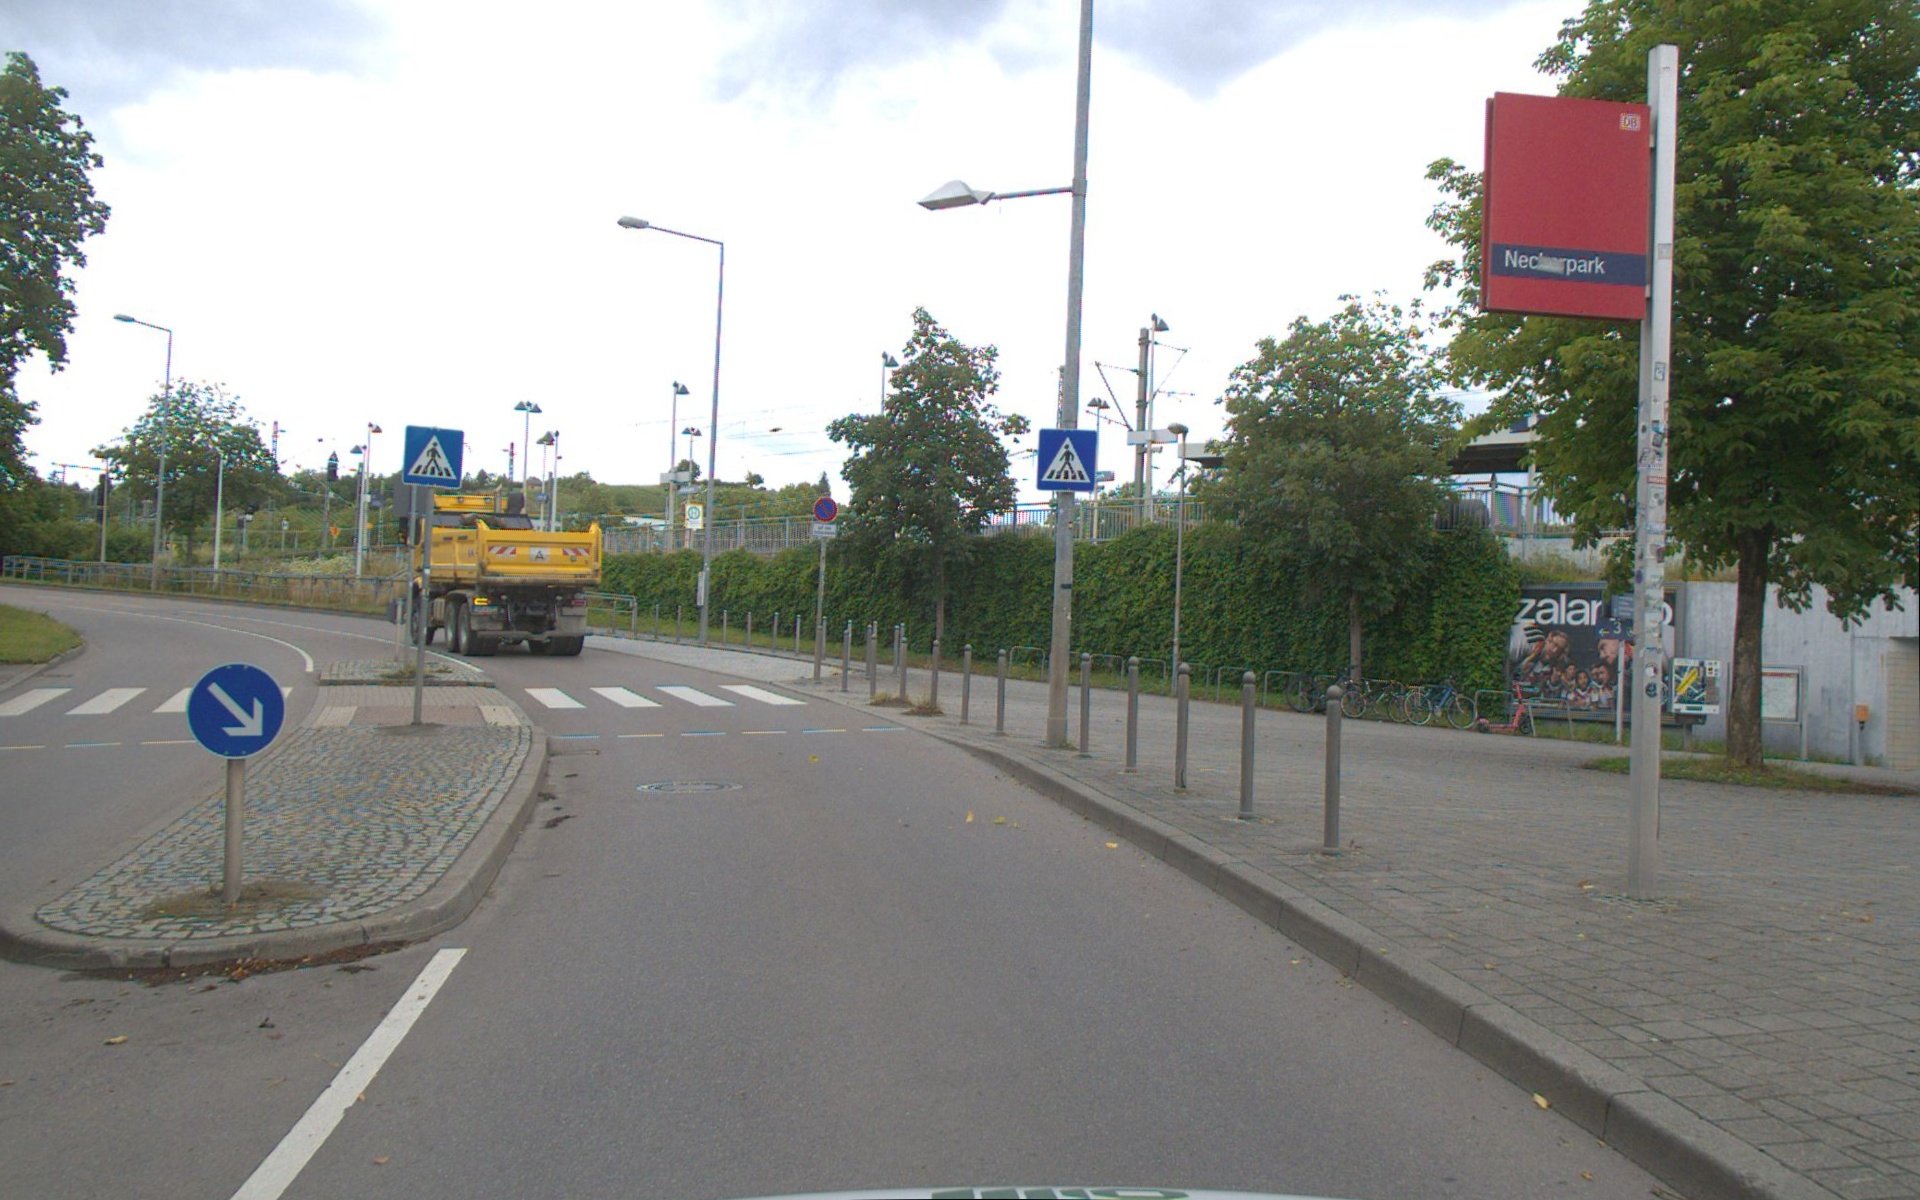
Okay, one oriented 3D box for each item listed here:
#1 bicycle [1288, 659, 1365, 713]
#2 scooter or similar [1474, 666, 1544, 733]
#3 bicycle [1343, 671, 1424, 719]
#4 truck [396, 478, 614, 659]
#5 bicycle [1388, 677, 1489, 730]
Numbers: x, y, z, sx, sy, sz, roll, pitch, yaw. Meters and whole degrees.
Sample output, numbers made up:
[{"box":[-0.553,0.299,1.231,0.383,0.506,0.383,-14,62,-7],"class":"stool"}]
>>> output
[{"box":[7.751,1.805,35.016,1.457,1.007,0.694,4,-1,3],"class":"bicycle"},{"box":[10.767,1.949,32.425,1.166,1.227,0.467,5,-2,-12],"class":"scooter or similar"},{"box":[8.827,1.980,34.511,1.547,0.869,0.462,5,-1,-12],"class":"bicycle"},{"box":[-10.285,-0.742,36.725,2.735,3.544,8.051,2,1,-29],"class":"truck"},{"box":[9.722,2.098,33.576,1.933,0.880,0.509,6,-1,-15],"class":"bicycle"}]
